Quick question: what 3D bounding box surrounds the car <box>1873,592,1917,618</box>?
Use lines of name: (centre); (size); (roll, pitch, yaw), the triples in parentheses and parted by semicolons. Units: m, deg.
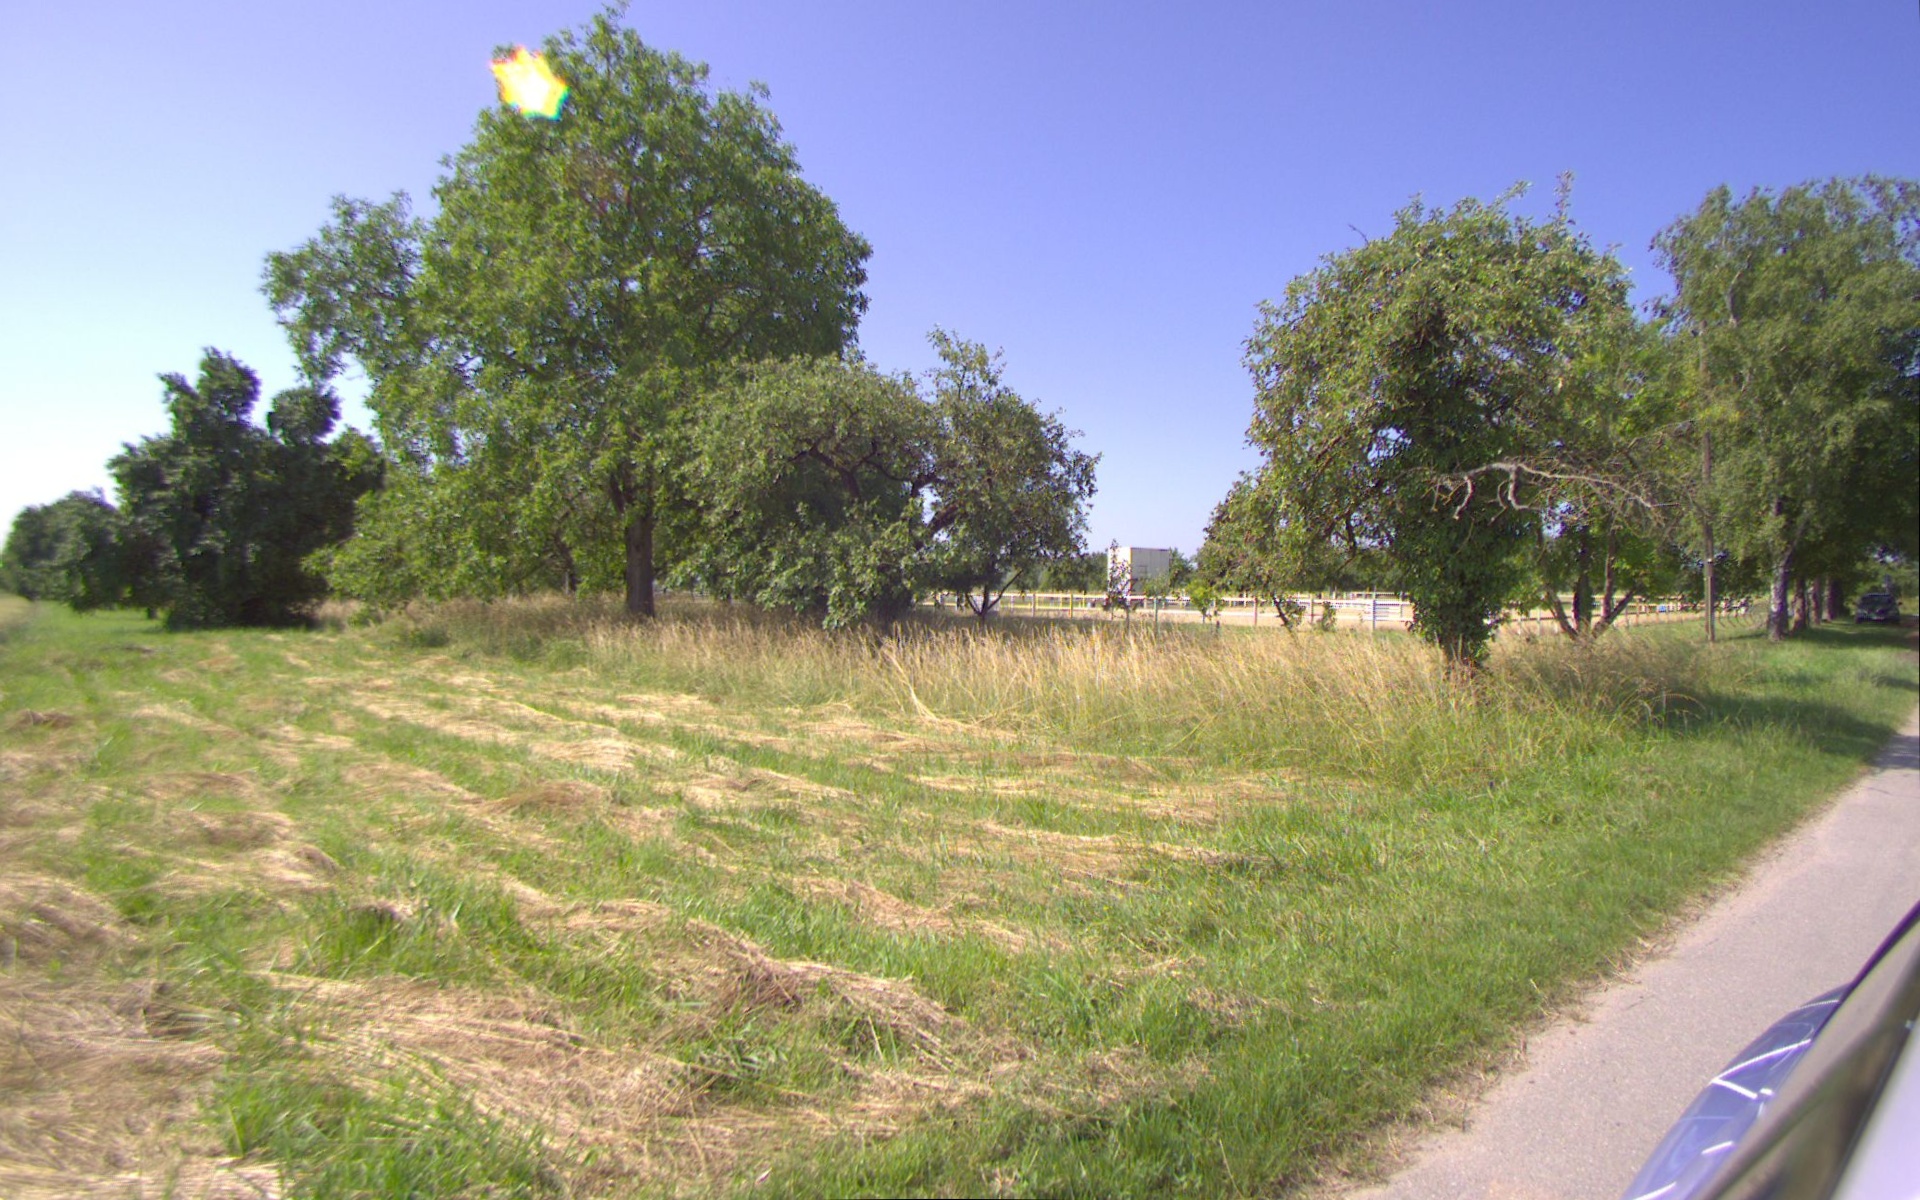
car: (51.410, 0.257, 55.692); (1.716, 1.337, 3.686); (0, 0, 42)
